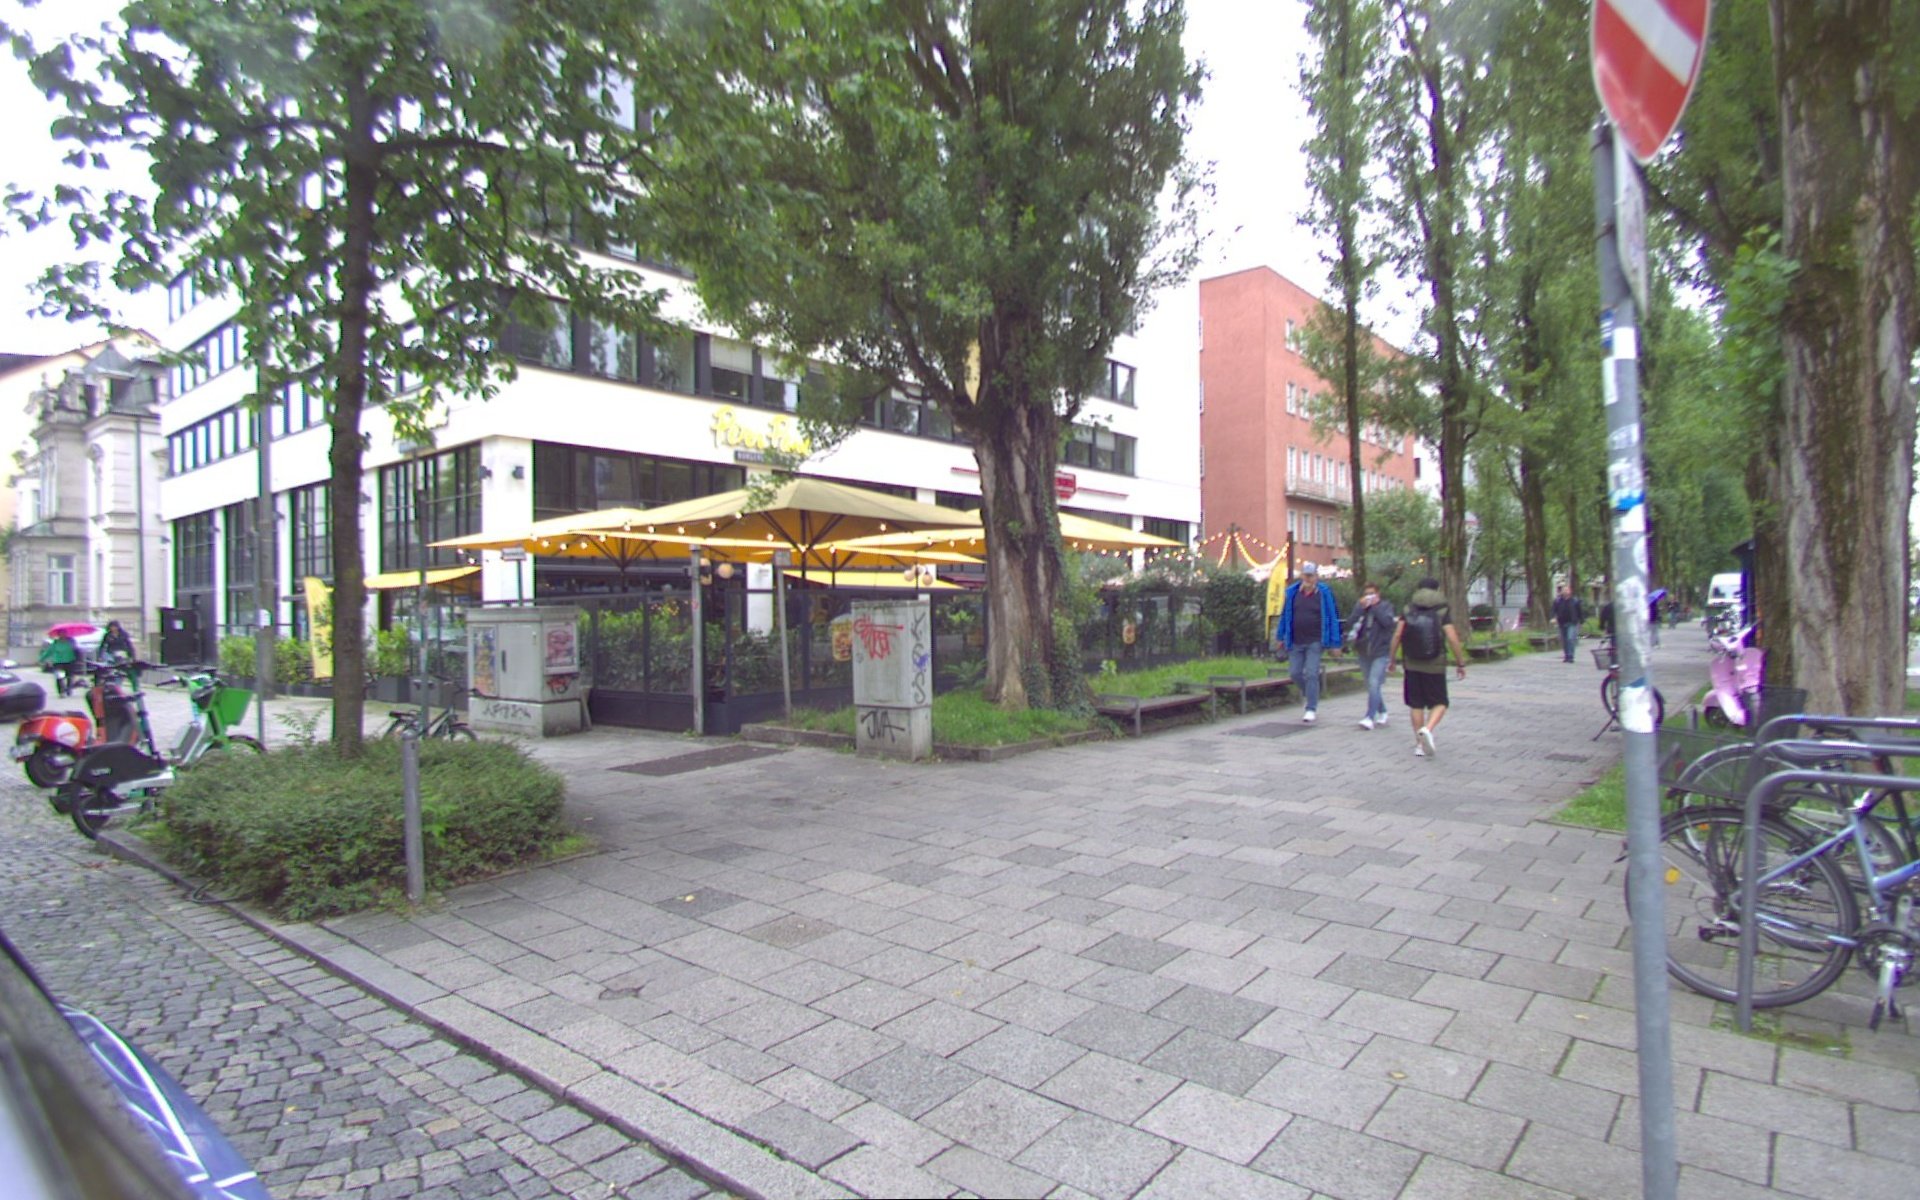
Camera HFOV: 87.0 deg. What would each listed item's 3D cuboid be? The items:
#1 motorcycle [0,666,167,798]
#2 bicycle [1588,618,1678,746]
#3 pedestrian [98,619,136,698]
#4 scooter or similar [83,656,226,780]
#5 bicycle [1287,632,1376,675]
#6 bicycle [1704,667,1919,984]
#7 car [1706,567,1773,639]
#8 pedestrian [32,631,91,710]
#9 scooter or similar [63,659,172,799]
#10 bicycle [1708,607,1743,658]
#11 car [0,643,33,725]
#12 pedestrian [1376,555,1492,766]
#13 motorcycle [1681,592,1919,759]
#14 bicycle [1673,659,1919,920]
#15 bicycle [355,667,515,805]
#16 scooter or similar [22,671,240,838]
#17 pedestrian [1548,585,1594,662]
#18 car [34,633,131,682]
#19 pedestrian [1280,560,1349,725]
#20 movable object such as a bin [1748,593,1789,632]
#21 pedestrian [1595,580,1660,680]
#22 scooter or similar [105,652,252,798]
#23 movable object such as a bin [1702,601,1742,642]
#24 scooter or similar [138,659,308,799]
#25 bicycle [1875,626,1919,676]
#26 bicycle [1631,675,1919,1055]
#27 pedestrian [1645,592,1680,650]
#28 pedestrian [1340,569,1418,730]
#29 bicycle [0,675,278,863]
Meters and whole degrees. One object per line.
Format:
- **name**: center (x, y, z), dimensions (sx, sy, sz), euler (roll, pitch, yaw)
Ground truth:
- **motorcycle**: center (-9.263, 1.307, 10.500), dimensions (0.758, 1.205, 1.995), euler (0, -3, -10)
- **bicycle**: center (6.935, 0.793, 10.403), dimensions (0.583, 1.198, 1.594), euler (-2, -1, 40)
- **pedestrian**: center (-19.286, 1.331, 23.150), dimensions (0.650, 1.761, 0.568), euler (-2, -2, 40)
- **scooter or similar**: center (-8.081, 1.178, 10.161), dimensions (1.236, 1.189, 0.389), euler (-1, -1, 8)
- **bicycle**: center (8.512, 1.216, 23.243), dimensions (1.799, 0.919, 0.612), euler (-2, -1, 38)
- **bicycle**: center (3.776, 0.821, 3.636), dimensions (0.484, 1.101, 1.704), euler (0, -1, -45)
- **car**: center (35.018, 0.164, 45.478), dimensions (2.197, 3.040, 5.923), euler (-2, -1, 38)
- **pedestrian**: center (-20.256, 1.572, 22.821), dimensions (0.799, 1.719, 0.916), euler (-2, -2, 42)
- **scooter or similar**: center (-8.472, 1.251, 10.220), dimensions (0.322, 1.283, 1.361), euler (0, -2, -17)
- **bicycle**: center (18.723, 0.781, 24.741), dimensions (0.583, 1.198, 2.113), euler (-2, -1, 39)
- **car**: center (-18.117, 1.485, 17.949), dimensions (4.113, 1.340, 1.973), euler (-2, -1, 40)
- **pedestrian**: center (4.260, 0.516, 9.096), dimensions (0.753, 1.786, 0.695), euler (0, 0, 45)
- **motorcycle**: center (7.549, 0.597, 9.054), dimensions (0.620, 1.204, 1.993), euler (-1, 4, -4)
- **bicycle**: center (4.430, 0.839, 4.501), dimensions (0.484, 1.101, 1.985), euler (0, -1, -45)
- **bicycle**: center (-4.552, 1.118, 8.723), dimensions (1.760, 1.030, 0.547), euler (-2, -1, 38)
- **scooter or similar**: center (-6.680, 1.198, 8.240), dimensions (0.366, 1.153, 1.423), euler (-1, -1, 15)
- **pedestrian**: center (13.725, 0.524, 22.739), dimensions (0.736, 1.705, 0.637), euler (-2, -1, 44)
- **car**: center (-30.281, 1.947, 34.889), dimensions (4.166, 1.544, 1.888), euler (-2, -1, 40)
- **pedestrian**: center (4.268, 0.503, 12.223), dimensions (0.697, 1.922, 0.641), euler (-1, -1, 16)
- **movable object such as a bin**: center (27.928, 0.448, 34.977), dimensions (1.062, 1.322, 0.971), euler (-2, -1, 37)
- **pedestrian**: center (11.974, 0.529, 18.146), dimensions (0.857, 1.724, 0.946), euler (-2, -1, 38)
- **scooter or similar**: center (-7.556, 1.166, 9.838), dimensions (0.324, 1.282, 1.247), euler (-1, -1, 9)
- **movable object such as a bin**: center (26.618, 0.758, 35.374), dimensions (1.062, 1.415, 0.971), euler (-2, -1, 37)
- **scooter or similar**: center (-6.812, 1.157, 9.398), dimensions (0.327, 1.153, 1.234), euler (-2, -1, 40)
- **bicycle**: center (20.952, 1.120, 22.624), dimensions (0.553, 1.030, 1.741), euler (-2, -1, 37)
- **bicycle**: center (3.159, 0.823, 3.146), dimensions (0.484, 1.101, 1.704), euler (0, -1, -45)
- **pedestrian**: center (21.024, 0.620, 30.280), dimensions (0.736, 1.705, 0.637), euler (-2, -1, 44)
- **pedestrian**: center (4.687, 0.542, 11.361), dimensions (0.697, 1.741, 0.641), euler (-1, -1, 16)
- **bicycle**: center (-6.158, 1.205, 7.722), dimensions (0.547, 1.152, 1.758), euler (-1, -1, 8)
